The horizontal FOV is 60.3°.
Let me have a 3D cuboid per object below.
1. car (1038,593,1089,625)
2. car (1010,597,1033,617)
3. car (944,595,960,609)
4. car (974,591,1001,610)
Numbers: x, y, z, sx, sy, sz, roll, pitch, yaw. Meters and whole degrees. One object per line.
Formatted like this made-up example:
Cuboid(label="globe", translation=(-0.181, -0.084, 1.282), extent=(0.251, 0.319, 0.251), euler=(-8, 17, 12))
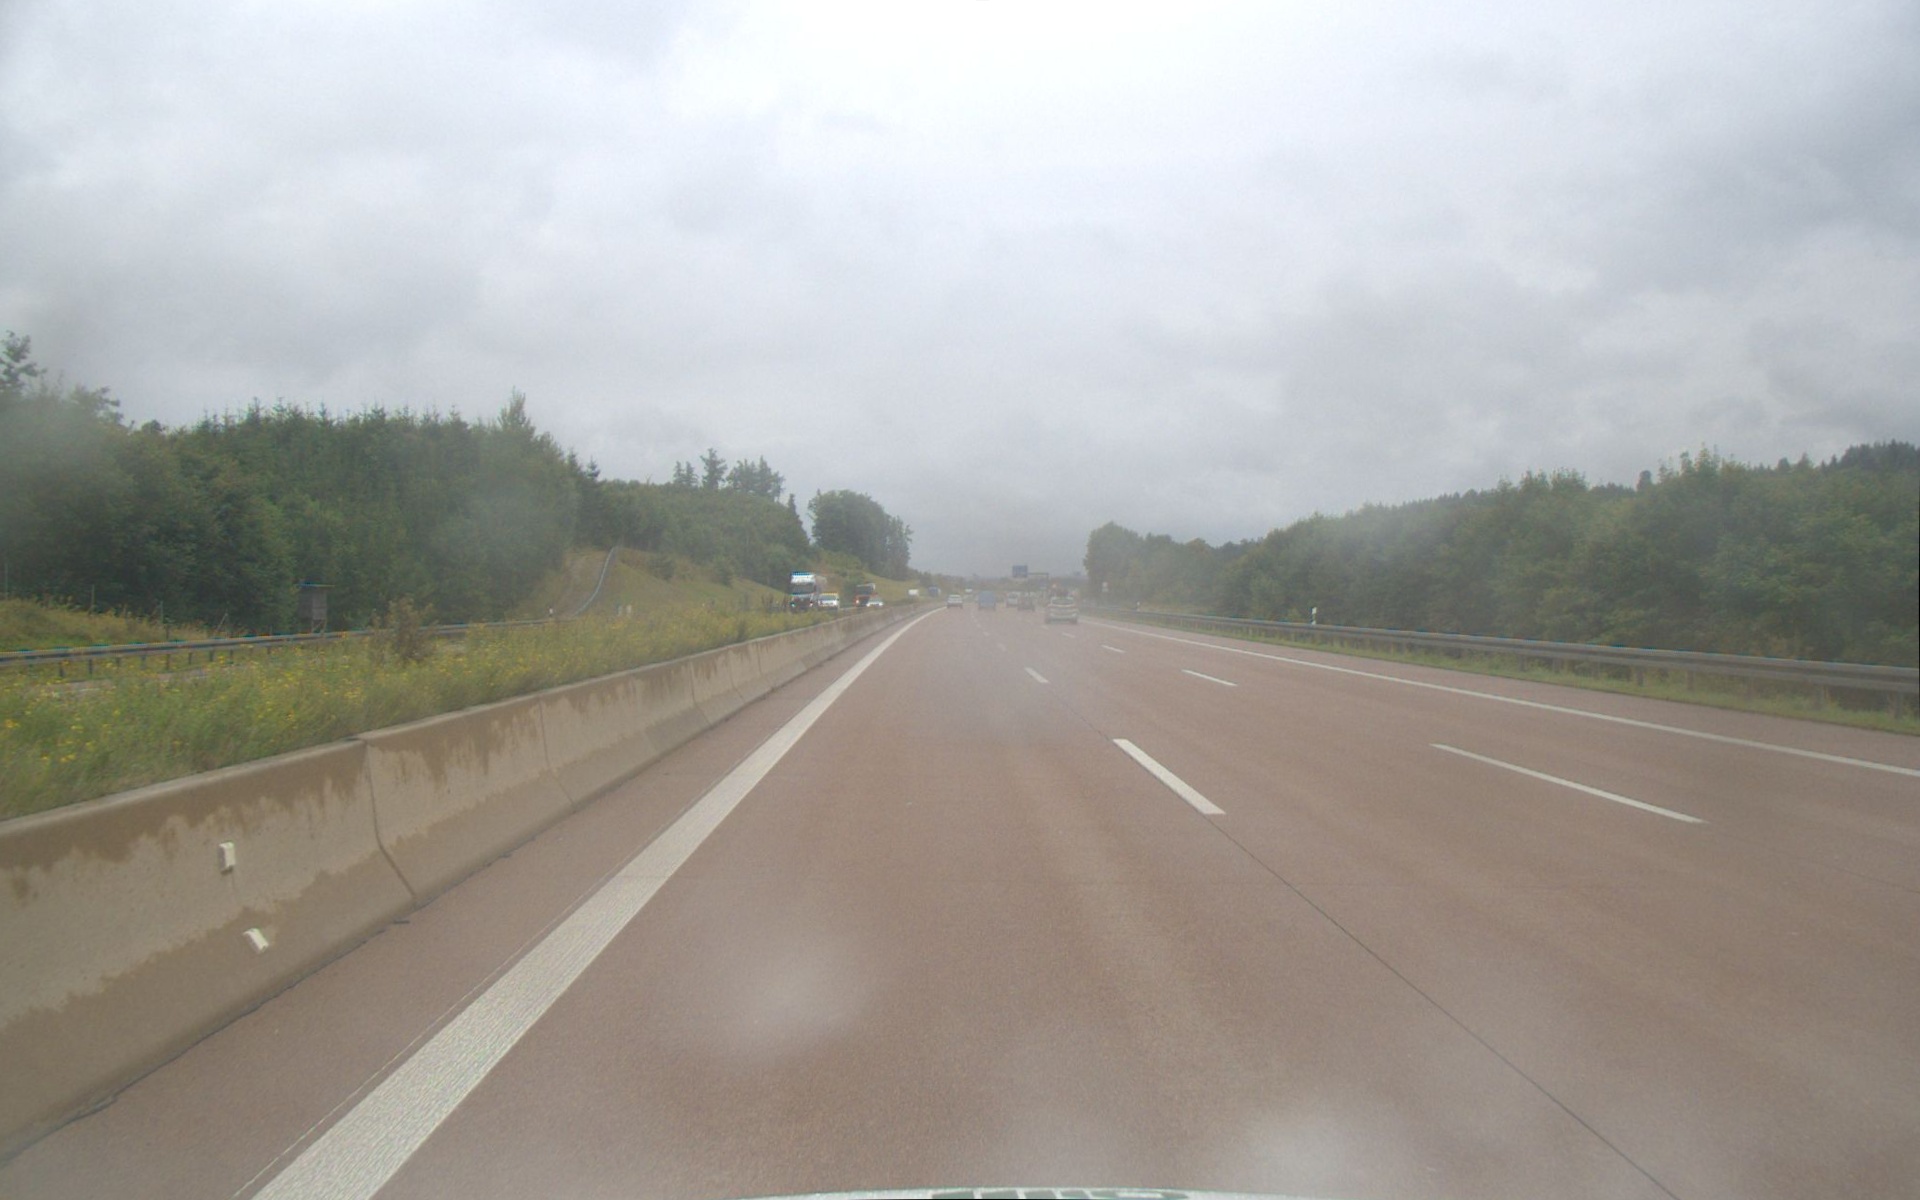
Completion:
Cuboid(label="car", translation=(6.051, 0.548, 97.337), extent=(2.277, 1.780, 4.872), euler=(1, -1, -4))
Cuboid(label="car", translation=(6.540, 0.765, 176.062), extent=(1.954, 2.049, 3.996), euler=(1, -1, -5))
Cuboid(label="car", translation=(-0.987, 0.230, 196.286), extent=(1.836, 1.470, 4.875), euler=(1, -1, -1))
Cuboid(label="car", translation=(2.858, 0.061, 173.126), extent=(2.277, 1.780, 4.872), euler=(1, -1, -4))
